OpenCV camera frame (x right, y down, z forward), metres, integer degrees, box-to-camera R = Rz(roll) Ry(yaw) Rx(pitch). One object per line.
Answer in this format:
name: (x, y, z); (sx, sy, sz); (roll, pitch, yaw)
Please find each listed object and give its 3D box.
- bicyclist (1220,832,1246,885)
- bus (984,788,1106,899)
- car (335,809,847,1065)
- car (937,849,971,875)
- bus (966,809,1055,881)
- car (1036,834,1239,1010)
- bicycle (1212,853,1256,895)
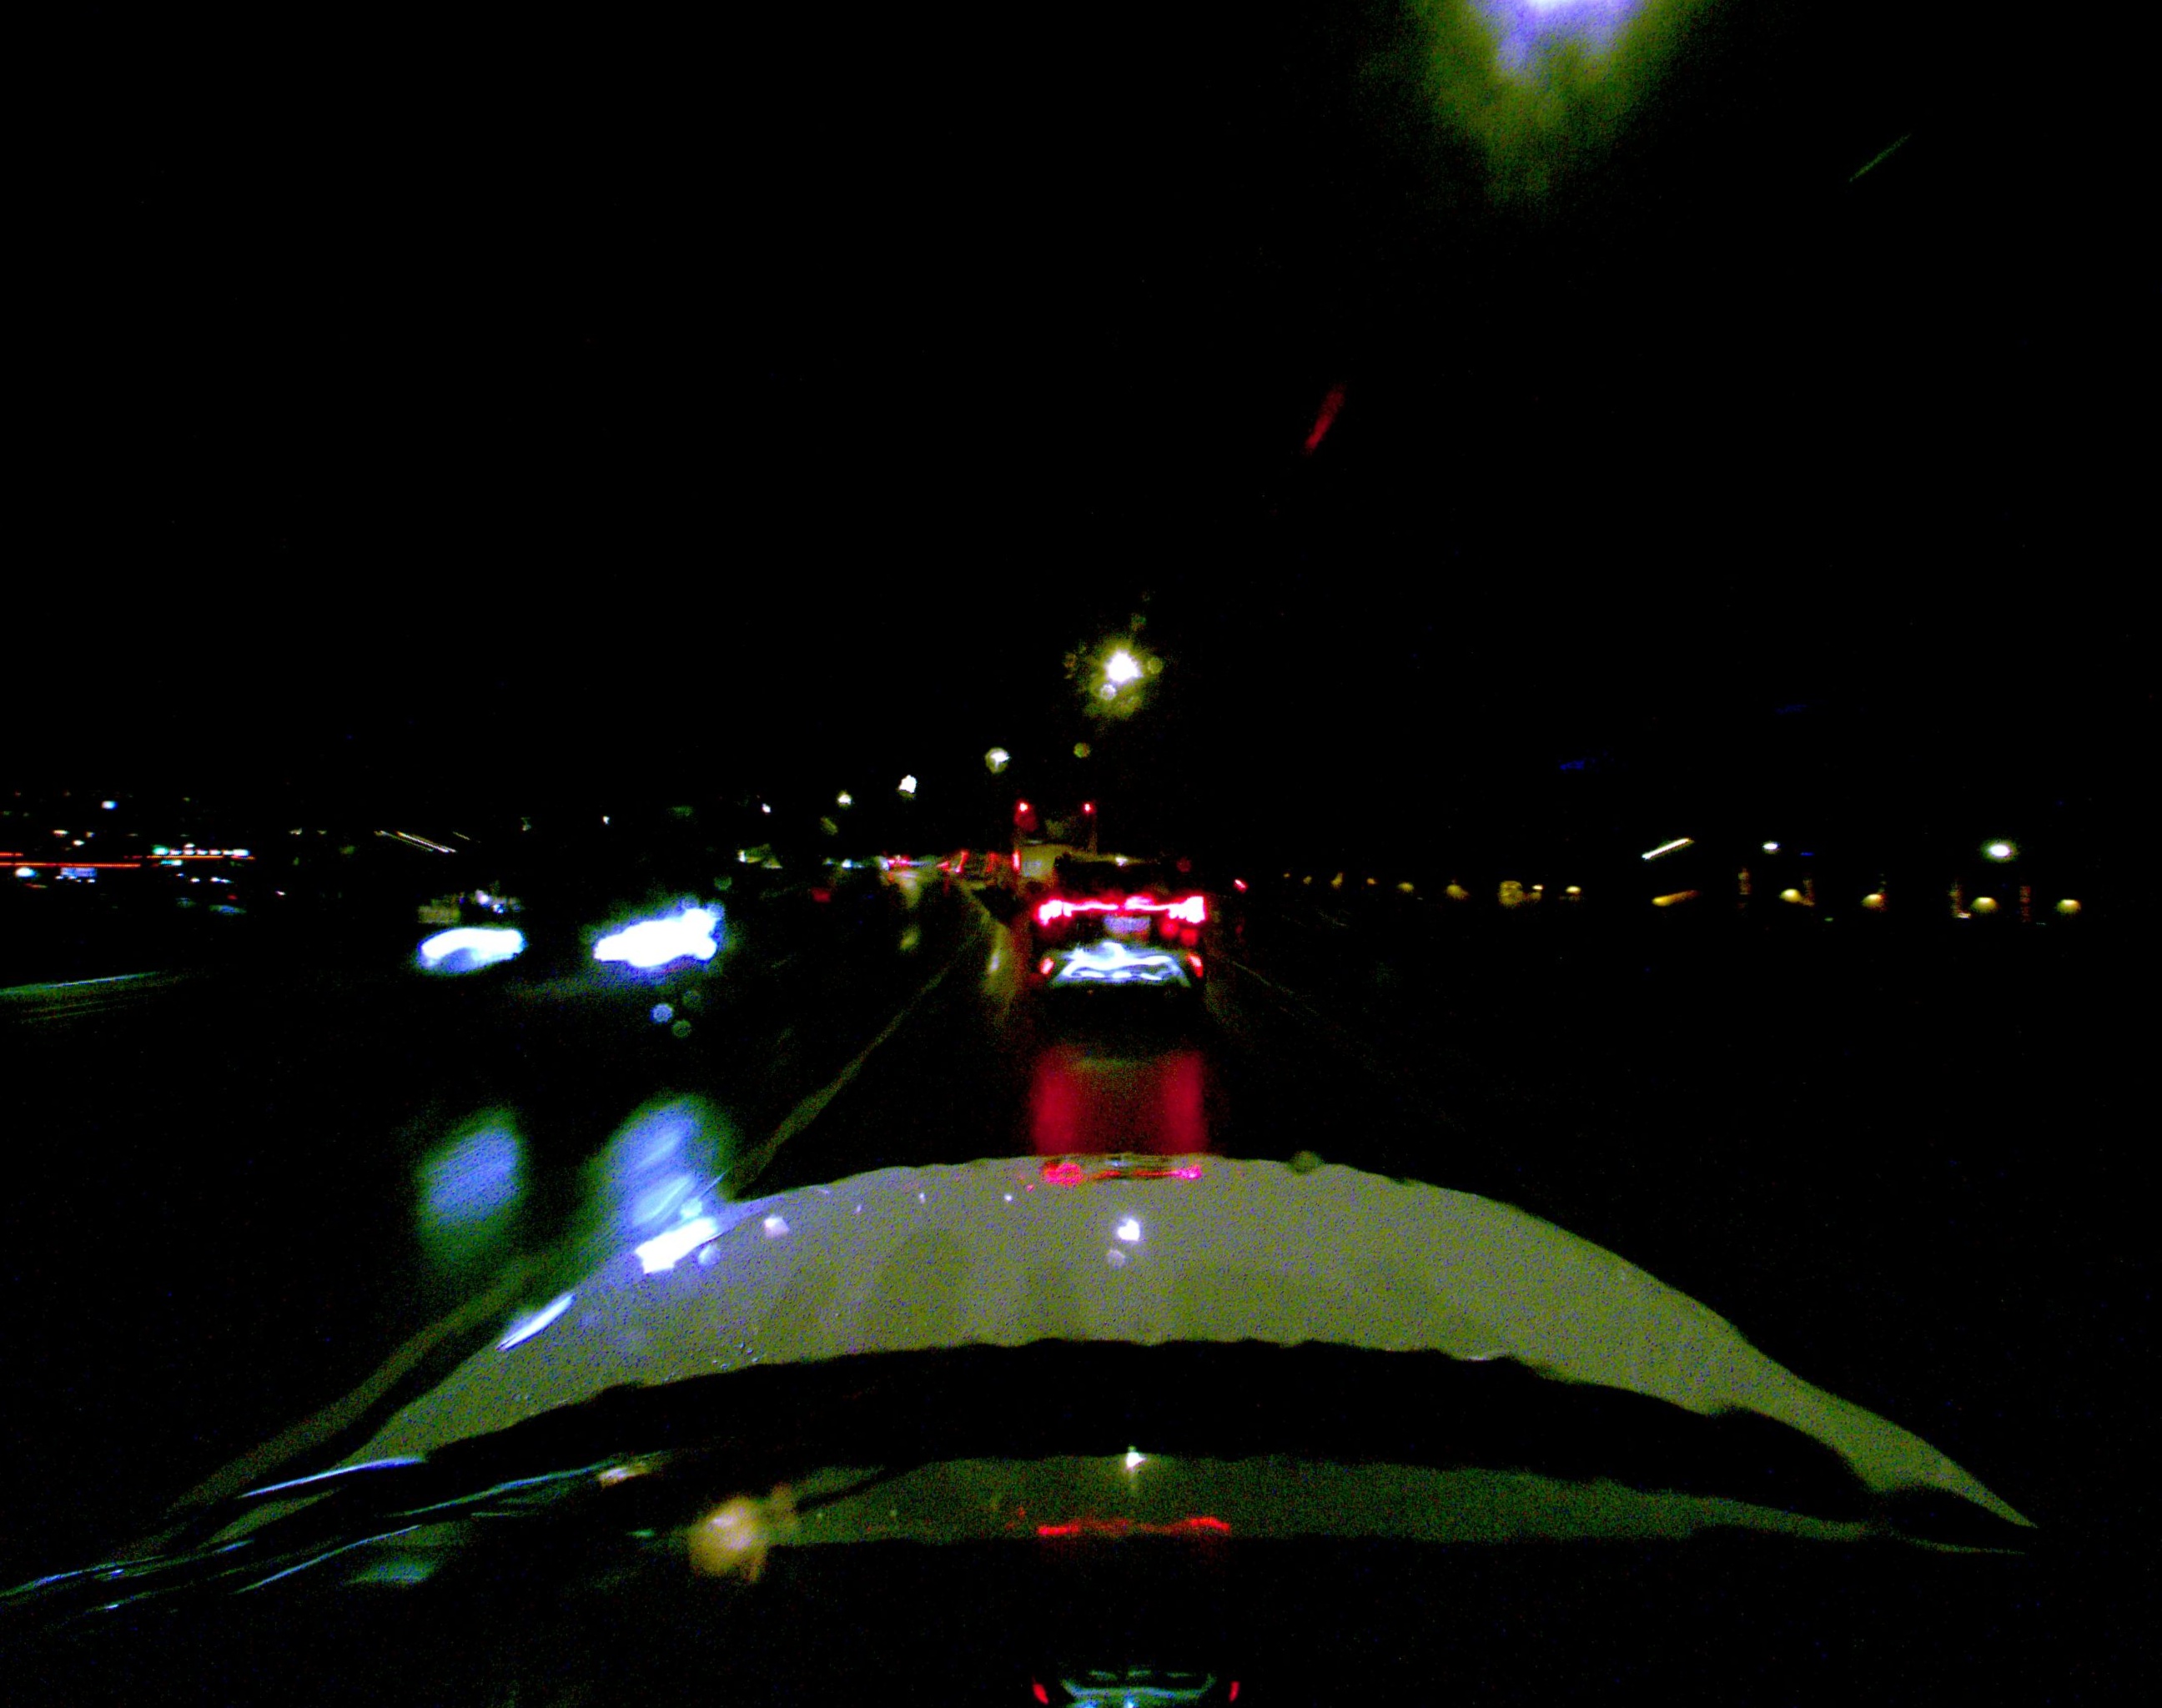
bicyclist: (3.966, 0.119, 21.253); (0.452, 1.349, 0.762); (0, 0, -8)
bus: (-1.741, -0.347, 29.563); (3.082, 3.132, 12.659); (-1, 0, -8)
car: (-4.106, 0.571, 8.128); (2.015, 1.719, 4.981); (-1, 0, 0)
car: (-9.256, 0.608, 58.947); (1.642, 1.656, 3.683); (-2, -2, -21)
bus: (-3.649, -0.388, 39.882); (3.053, 3.132, 8.039); (1, 0, -14)
car: (0.514, 0.629, 9.453); (1.850, 1.586, 3.999); (0, 0, 0)
bicycle: (3.965, 0.498, 21.283); (0.484, 1.034, 2.166); (0, 0, -8)
